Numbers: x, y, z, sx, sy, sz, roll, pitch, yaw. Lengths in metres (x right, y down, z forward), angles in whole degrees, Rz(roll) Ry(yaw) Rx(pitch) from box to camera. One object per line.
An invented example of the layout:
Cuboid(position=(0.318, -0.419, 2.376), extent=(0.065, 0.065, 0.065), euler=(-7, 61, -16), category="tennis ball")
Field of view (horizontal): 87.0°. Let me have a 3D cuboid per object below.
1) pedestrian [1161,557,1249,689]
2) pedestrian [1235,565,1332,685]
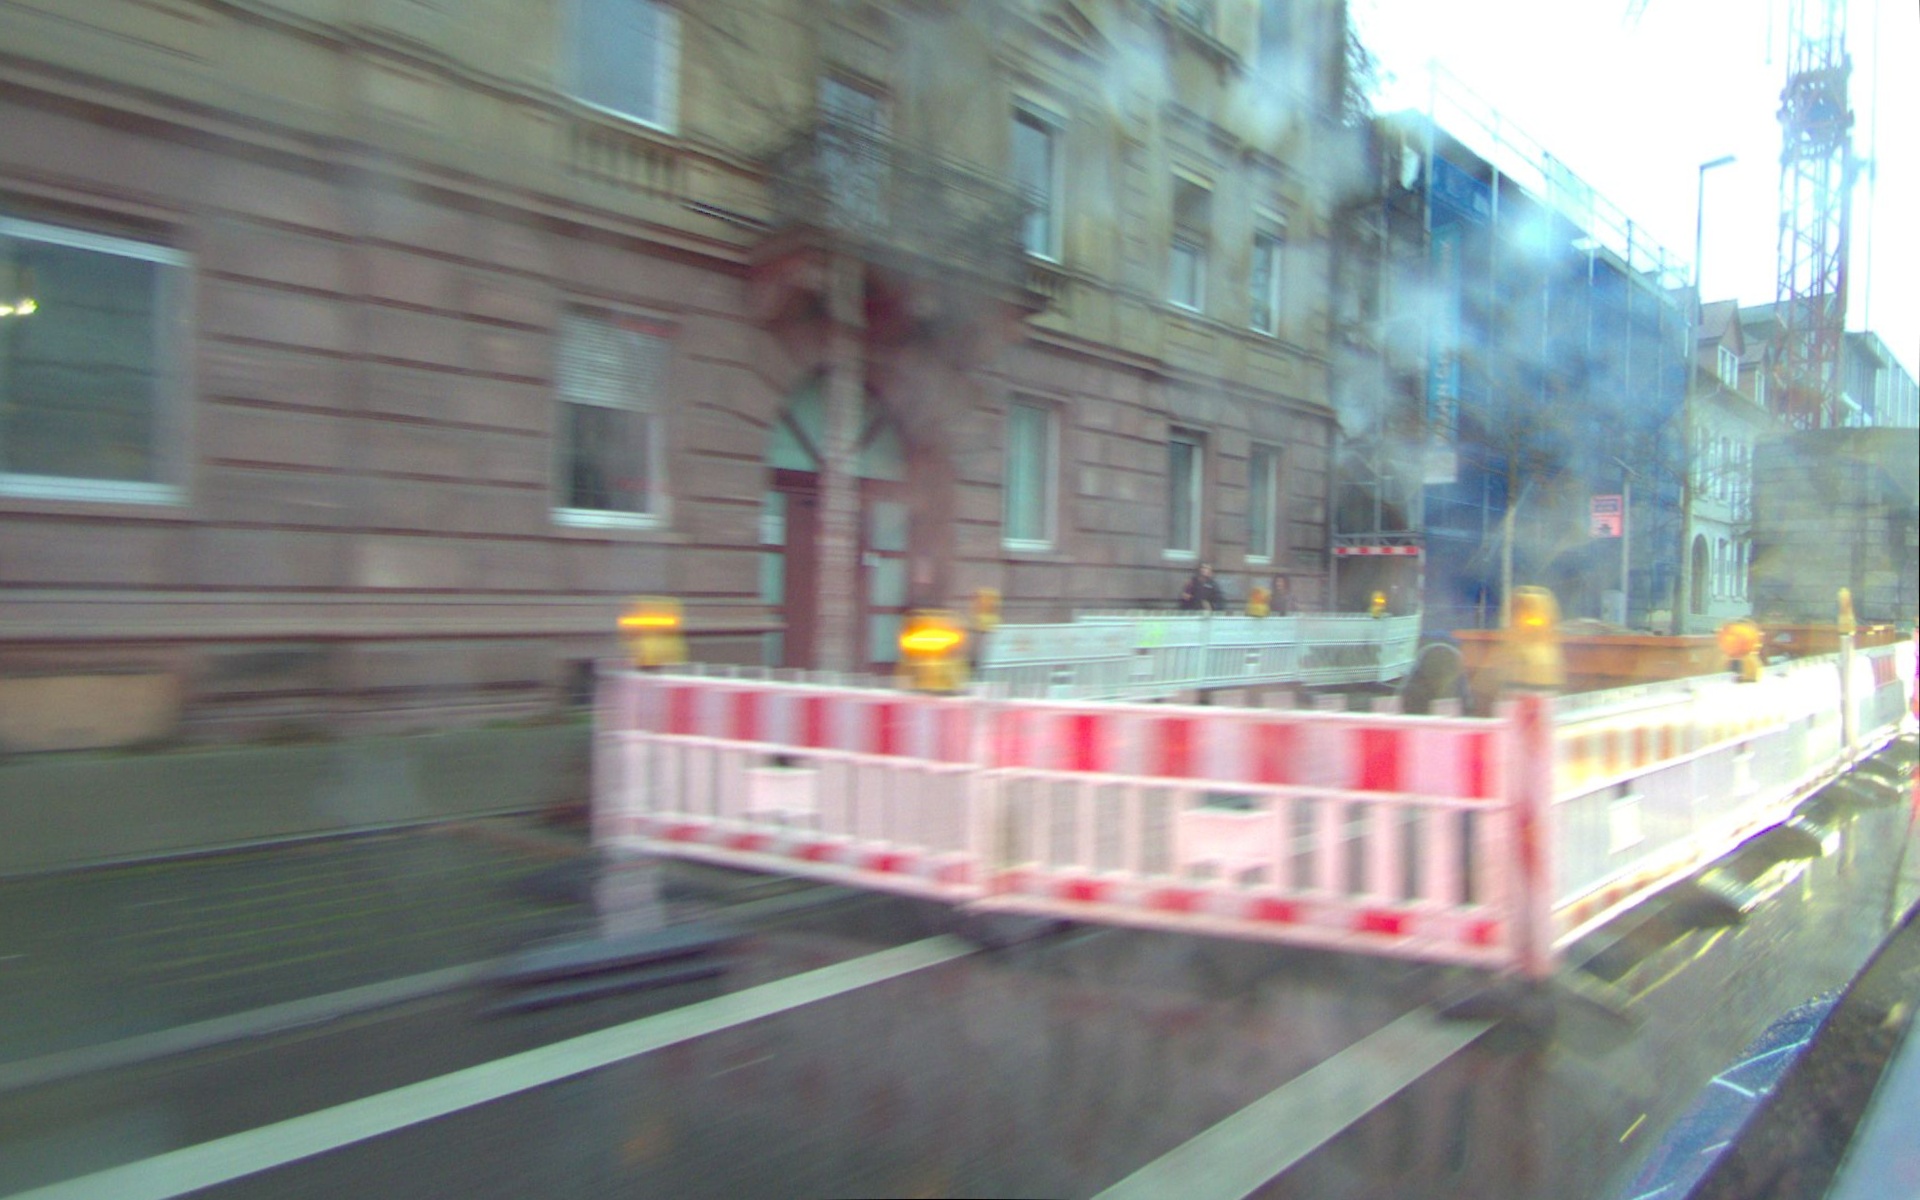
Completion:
Cuboid(position=(3.297, 0.289, 13.658), extent=(0.694, 1.693, 0.870), euler=(1, 2, -41), category="pedestrian")
Cuboid(position=(4.443, 0.321, 13.898), extent=(0.913, 1.564, 0.870), euler=(1, 2, -41), category="pedestrian")
